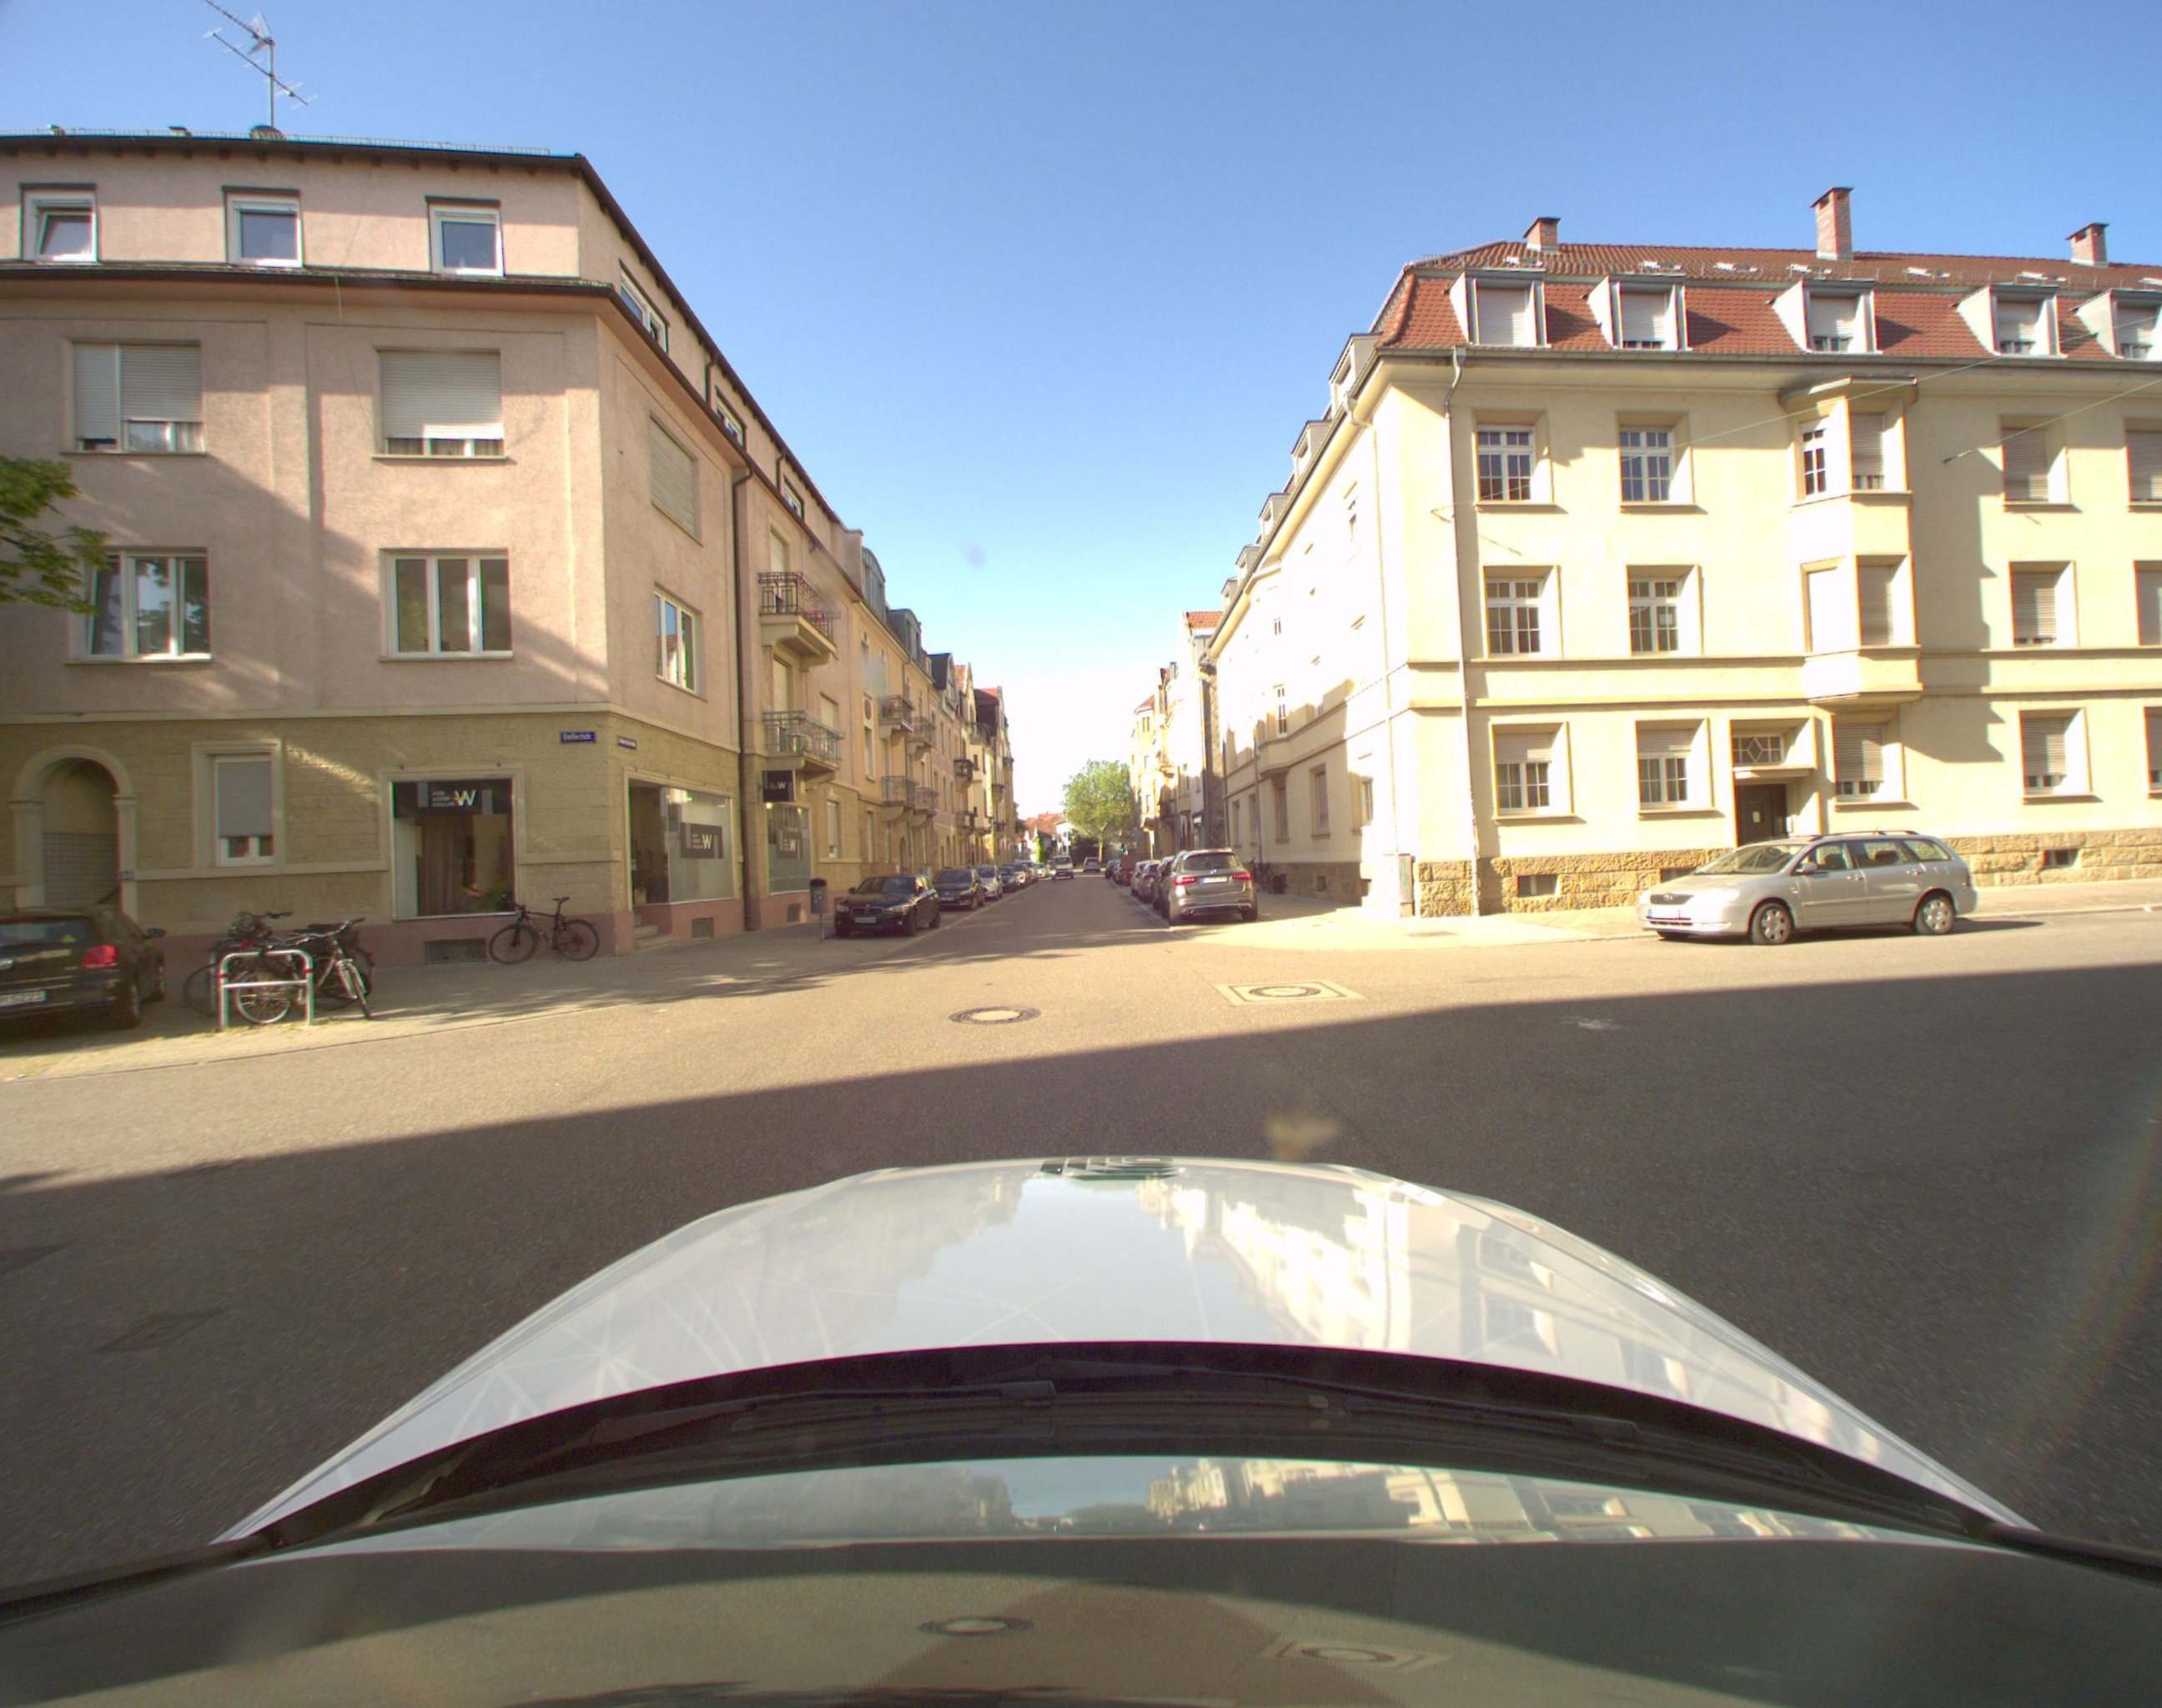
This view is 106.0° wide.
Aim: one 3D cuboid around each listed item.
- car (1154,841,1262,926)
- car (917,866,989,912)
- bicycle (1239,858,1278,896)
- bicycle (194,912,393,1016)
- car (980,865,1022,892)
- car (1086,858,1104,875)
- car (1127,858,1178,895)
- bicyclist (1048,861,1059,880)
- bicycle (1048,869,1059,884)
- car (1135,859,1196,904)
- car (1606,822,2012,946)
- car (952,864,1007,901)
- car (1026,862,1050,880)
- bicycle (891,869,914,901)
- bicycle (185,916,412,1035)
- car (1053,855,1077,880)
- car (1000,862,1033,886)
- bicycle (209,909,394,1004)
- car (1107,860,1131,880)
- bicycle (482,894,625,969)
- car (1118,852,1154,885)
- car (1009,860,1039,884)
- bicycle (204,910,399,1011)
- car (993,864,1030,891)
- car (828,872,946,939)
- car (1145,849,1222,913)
[{"bbox_3d":[2.866,0.689,19.392,1.906,1.645,4.775,-4,-2,2],"label":"car"},{"bbox_3d":[-4.640,1.249,30.102,1.997,1.582,4.485,0,-1,-1],"label":"car"},{"bbox_3d":[6.239,0.779,28.789,0.759,1.246,2.591,-2,-1,0],"label":"bicycle"},{"bbox_3d":[-9.675,1.341,10.039,1.891,1.135,0.526,-2,1,1],"label":"bicycle"},{"bbox_3d":[-4.526,1.397,46.604,1.973,1.482,4.326,0,-1,-1],"label":"car"},{"bbox_3d":[1.642,1.466,93.850,1.997,1.914,4.486,0,-1,0],"label":"car"},{"bbox_3d":[3.053,0.990,35.467,1.832,1.431,4.028,-4,-2,1],"label":"car"},{"bbox_3d":[-2.065,1.232,61.207,0.660,1.385,0.753,-4,-1,-1],"label":"bicyclist"},{"bbox_3d":[-2.045,1.691,61.180,0.660,1.019,2.065,-4,-1,-1],"label":"bicycle"},{"bbox_3d":[3.047,1.028,30.073,1.832,1.431,4.028,-4,-2,1],"label":"car"},{"bbox_3d":[10.469,0.423,11.888,4.533,1.468,1.824,-2,-3,-7],"label":"car"},{"bbox_3d":[-4.617,1.282,37.519,1.997,1.619,4.485,0,-1,-1],"label":"car"},{"bbox_3d":[-4.043,1.635,77.125,1.997,1.605,4.485,0,-1,-1],"label":"car"},{"bbox_3d":[-7.752,1.336,35.389,0.539,1.301,1.867,-1,-1,1],"label":"bicycle"},{"bbox_3d":[-8.879,1.364,9.290,1.891,1.135,0.648,-3,1,1],"label":"bicycle"},{"bbox_3d":[-1.331,1.126,68.495,1.997,2.000,4.485,0,-1,-1],"label":"car"},{"bbox_3d":[-4.440,1.394,56.627,1.997,1.619,4.485,0,-1,-1],"label":"car"},{"bbox_3d":[-10.630,1.384,11.142,1.893,1.135,0.525,-2,1,-3],"label":"bicycle"},{"bbox_3d":[3.104,1.344,67.084,1.832,1.431,4.028,-4,-2,1],"label":"car"},{"bbox_3d":[-8.920,1.293,13.827,1.897,1.135,0.646,-2,1,-8],"label":"bicycle"},{"bbox_3d":[3.238,0.907,48.267,1.832,1.787,4.028,-3,-2,1],"label":"car"},{"bbox_3d":[-4.303,1.358,62.131,1.997,1.788,4.485,0,-1,-1],"label":"car"},{"bbox_3d":[-10.068,1.359,10.554,1.893,1.135,0.525,-2,1,-3],"label":"bicycle"},{"bbox_3d":[-4.292,1.460,51.122,1.997,1.619,4.485,0,-1,-1],"label":"car"},{"bbox_3d":[-4.546,1.162,19.722,1.673,1.426,4.275,0,-1,2],"label":"car"},{"bbox_3d":[2.929,0.806,24.012,1.739,1.608,4.028,-4,-2,1],"label":"car"}]
